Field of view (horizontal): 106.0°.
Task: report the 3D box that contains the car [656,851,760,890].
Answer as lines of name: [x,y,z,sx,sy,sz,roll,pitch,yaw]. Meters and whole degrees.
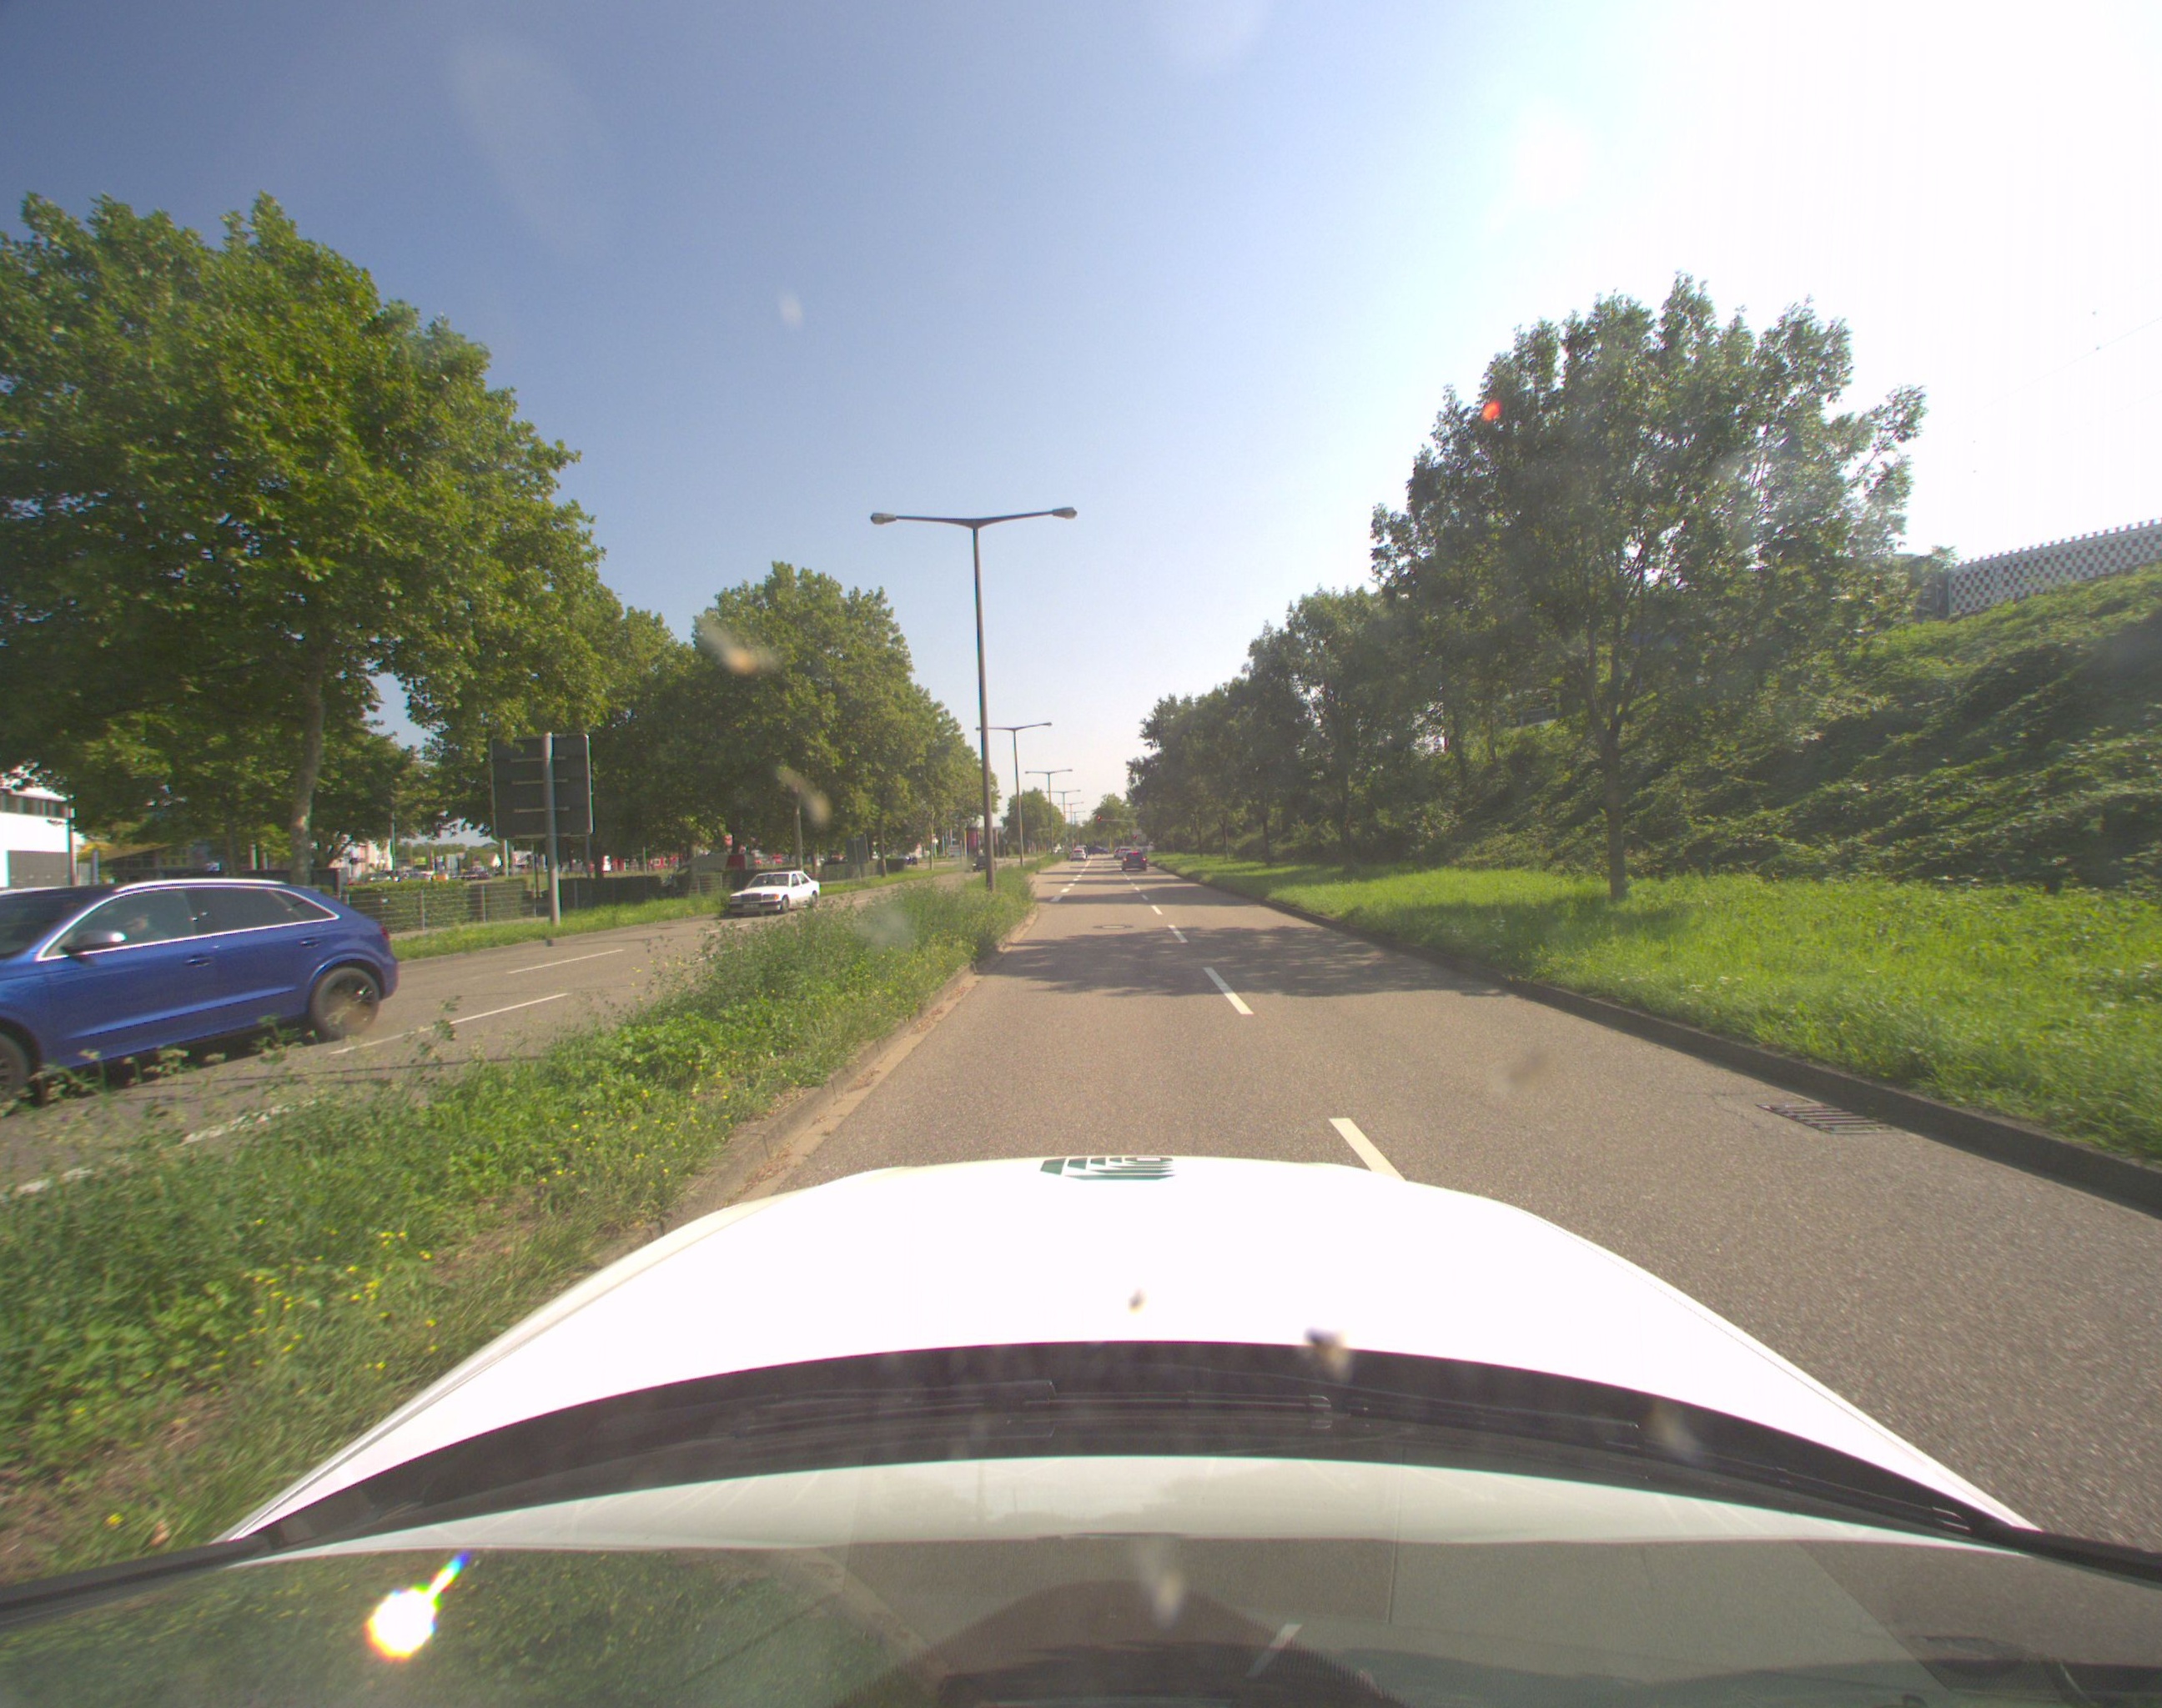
car: [-24.011,1.028,52.646,5.566,2.336,2.279,-1,3,-1]

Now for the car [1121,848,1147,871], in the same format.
car: [3.846,0.382,59.784,1.774,1.427,4.002,-1,3,1]

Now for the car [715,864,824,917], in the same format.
car: [-10.241,1.138,27.162,1.789,1.417,4.411,-4,1,1]

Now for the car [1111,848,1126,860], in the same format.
car: [5.375,-0.004,118.054,1.987,1.654,4.001,-1,2,1]

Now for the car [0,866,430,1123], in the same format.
car: [-7.915,0.976,6.393,1.987,1.585,4.347,-3,0,1]

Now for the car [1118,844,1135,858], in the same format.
car: [5.866,-0.394,104.747,1.986,1.654,4.001,-3,0,1]

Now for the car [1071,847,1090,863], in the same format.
car: [-0.083,0.096,96.627,1.986,1.702,4.002,-3,0,2]

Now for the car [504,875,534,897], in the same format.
car: [-46.248,2.598,67.113,1.940,1.452,3.958,-2,3,-34]

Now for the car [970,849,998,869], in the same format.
car: [-8.809,0.439,74.140,1.987,1.561,4.001,-1,3,1]
